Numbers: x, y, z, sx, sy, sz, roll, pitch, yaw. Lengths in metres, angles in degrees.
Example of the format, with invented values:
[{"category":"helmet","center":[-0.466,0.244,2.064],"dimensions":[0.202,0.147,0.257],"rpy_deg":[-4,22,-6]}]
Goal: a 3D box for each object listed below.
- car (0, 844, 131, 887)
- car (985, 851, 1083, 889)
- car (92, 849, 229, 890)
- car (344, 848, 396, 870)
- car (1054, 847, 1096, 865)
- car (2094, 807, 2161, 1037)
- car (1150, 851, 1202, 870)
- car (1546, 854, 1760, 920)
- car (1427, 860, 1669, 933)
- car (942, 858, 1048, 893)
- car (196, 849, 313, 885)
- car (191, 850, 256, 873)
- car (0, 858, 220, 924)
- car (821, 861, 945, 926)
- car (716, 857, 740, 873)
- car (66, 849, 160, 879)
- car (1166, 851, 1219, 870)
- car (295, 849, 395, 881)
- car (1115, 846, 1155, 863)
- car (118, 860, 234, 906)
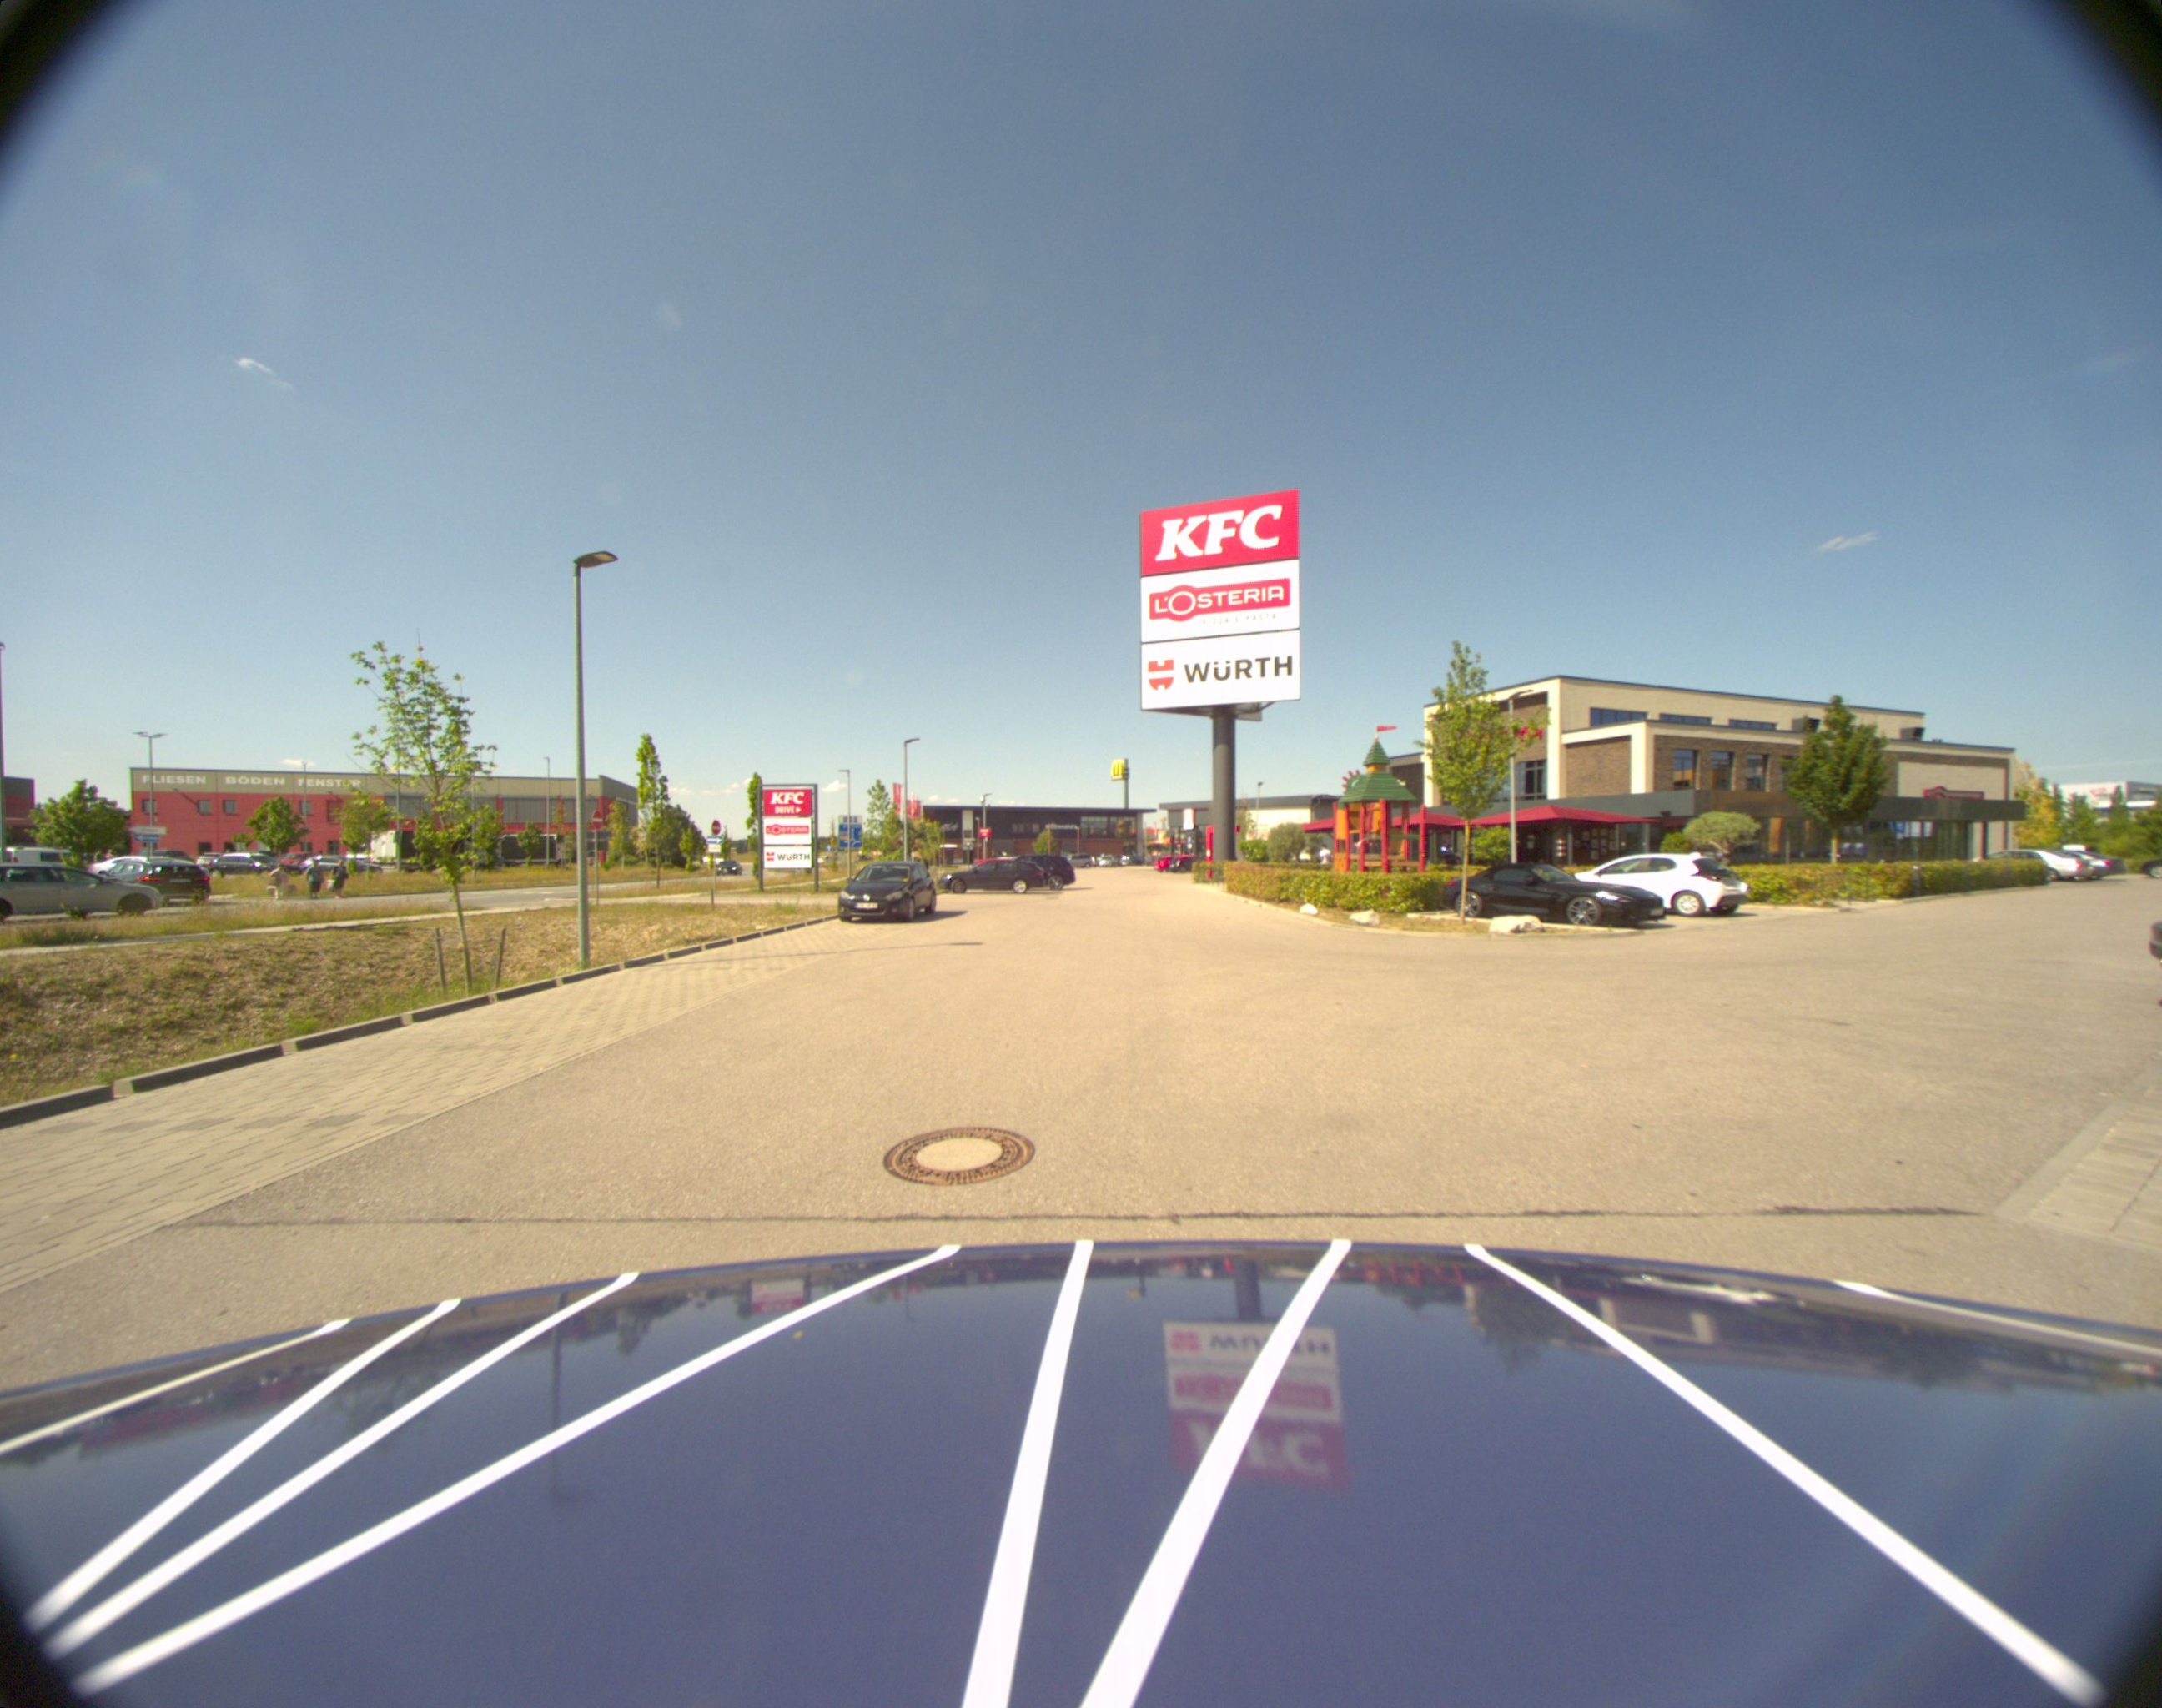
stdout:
[{"category":"car","center":[-54.101,0.559,40.111],"dimensions":[1.997,2.174,4.486],"rpy_deg":[-1,1,7]},{"category":"car","center":[-2.294,0.767,37.740],"dimensions":[4.528,1.825,2.001],"rpy_deg":[0,1,6]},{"category":"car","center":[-49.295,0.803,40.786],"dimensions":[4.484,2.026,1.998],"rpy_deg":[-1,1,-7]},{"category":"car","center":[-69.051,0.451,73.870],"dimensions":[2.002,2.026,4.477],"rpy_deg":[-1,1,-19]},{"category":"car","center":[-0.664,0.242,89.541],"dimensions":[4.488,2.002,1.996],"rpy_deg":[-1,1,-20]},{"category":"car","center":[11.130,0.562,4.868],"dimensions":[2.034,1.927,5.368],"rpy_deg":[-1,0,-30]},{"category":"car","center":[8.405,0.556,67.182],"dimensions":[4.100,1.556,1.875],"rpy_deg":[-1,1,-20]},{"category":"car","center":[14.219,0.742,19.144],"dimensions":[1.806,1.466,3.905],"rpy_deg":[-1,0,-26]},{"category":"car","center":[10.035,0.824,16.652],"dimensions":[1.834,1.330,4.144],"rpy_deg":[-1,0,-31]},{"category":"car","center":[-3.746,0.927,33.577],"dimensions":[4.532,1.450,1.999],"rpy_deg":[0,0,-4]},{"category":"car","center":[-49.685,0.760,45.782],"dimensions":[4.484,2.026,1.998],"rpy_deg":[-1,1,-7]},{"category":"car","center":[-79.470,0.688,70.523],"dimensions":[2.002,2.026,4.477],"rpy_deg":[-1,1,-19]},{"category":"car","center":[-26.912,0.921,20.432],"dimensions":[1.945,1.542,4.761],"rpy_deg":[-1,1,3]},{"category":"car","center":[-5.000,0.944,19.854],"dimensions":[1.876,1.457,4.364],"rpy_deg":[0,0,3]},{"category":"car","center":[-34.674,1.027,74.758],"dimensions":[1.831,1.532,3.993],"rpy_deg":[-1,0,-21]},{"category":"car","center":[-69.419,0.654,54.613],"dimensions":[2.002,2.026,4.477],"rpy_deg":[-1,1,-19]},{"category":"car","center":[9.462,0.518,64.668],"dimensions":[4.100,1.556,1.875],"rpy_deg":[-1,1,-20]},{"category":"car","center":[-49.685,0.703,51.387],"dimensions":[4.484,2.026,1.998],"rpy_deg":[-1,1,-7]},{"category":"car","center":[6.712,0.045,94.811],"dimensions":[4.488,2.002,1.996],"rpy_deg":[-1,1,-20]},{"category":"car","center":[-33.366,1.027,27.980],"dimensions":[4.748,1.542,1.950],"rpy_deg":[-1,1,31]}]
